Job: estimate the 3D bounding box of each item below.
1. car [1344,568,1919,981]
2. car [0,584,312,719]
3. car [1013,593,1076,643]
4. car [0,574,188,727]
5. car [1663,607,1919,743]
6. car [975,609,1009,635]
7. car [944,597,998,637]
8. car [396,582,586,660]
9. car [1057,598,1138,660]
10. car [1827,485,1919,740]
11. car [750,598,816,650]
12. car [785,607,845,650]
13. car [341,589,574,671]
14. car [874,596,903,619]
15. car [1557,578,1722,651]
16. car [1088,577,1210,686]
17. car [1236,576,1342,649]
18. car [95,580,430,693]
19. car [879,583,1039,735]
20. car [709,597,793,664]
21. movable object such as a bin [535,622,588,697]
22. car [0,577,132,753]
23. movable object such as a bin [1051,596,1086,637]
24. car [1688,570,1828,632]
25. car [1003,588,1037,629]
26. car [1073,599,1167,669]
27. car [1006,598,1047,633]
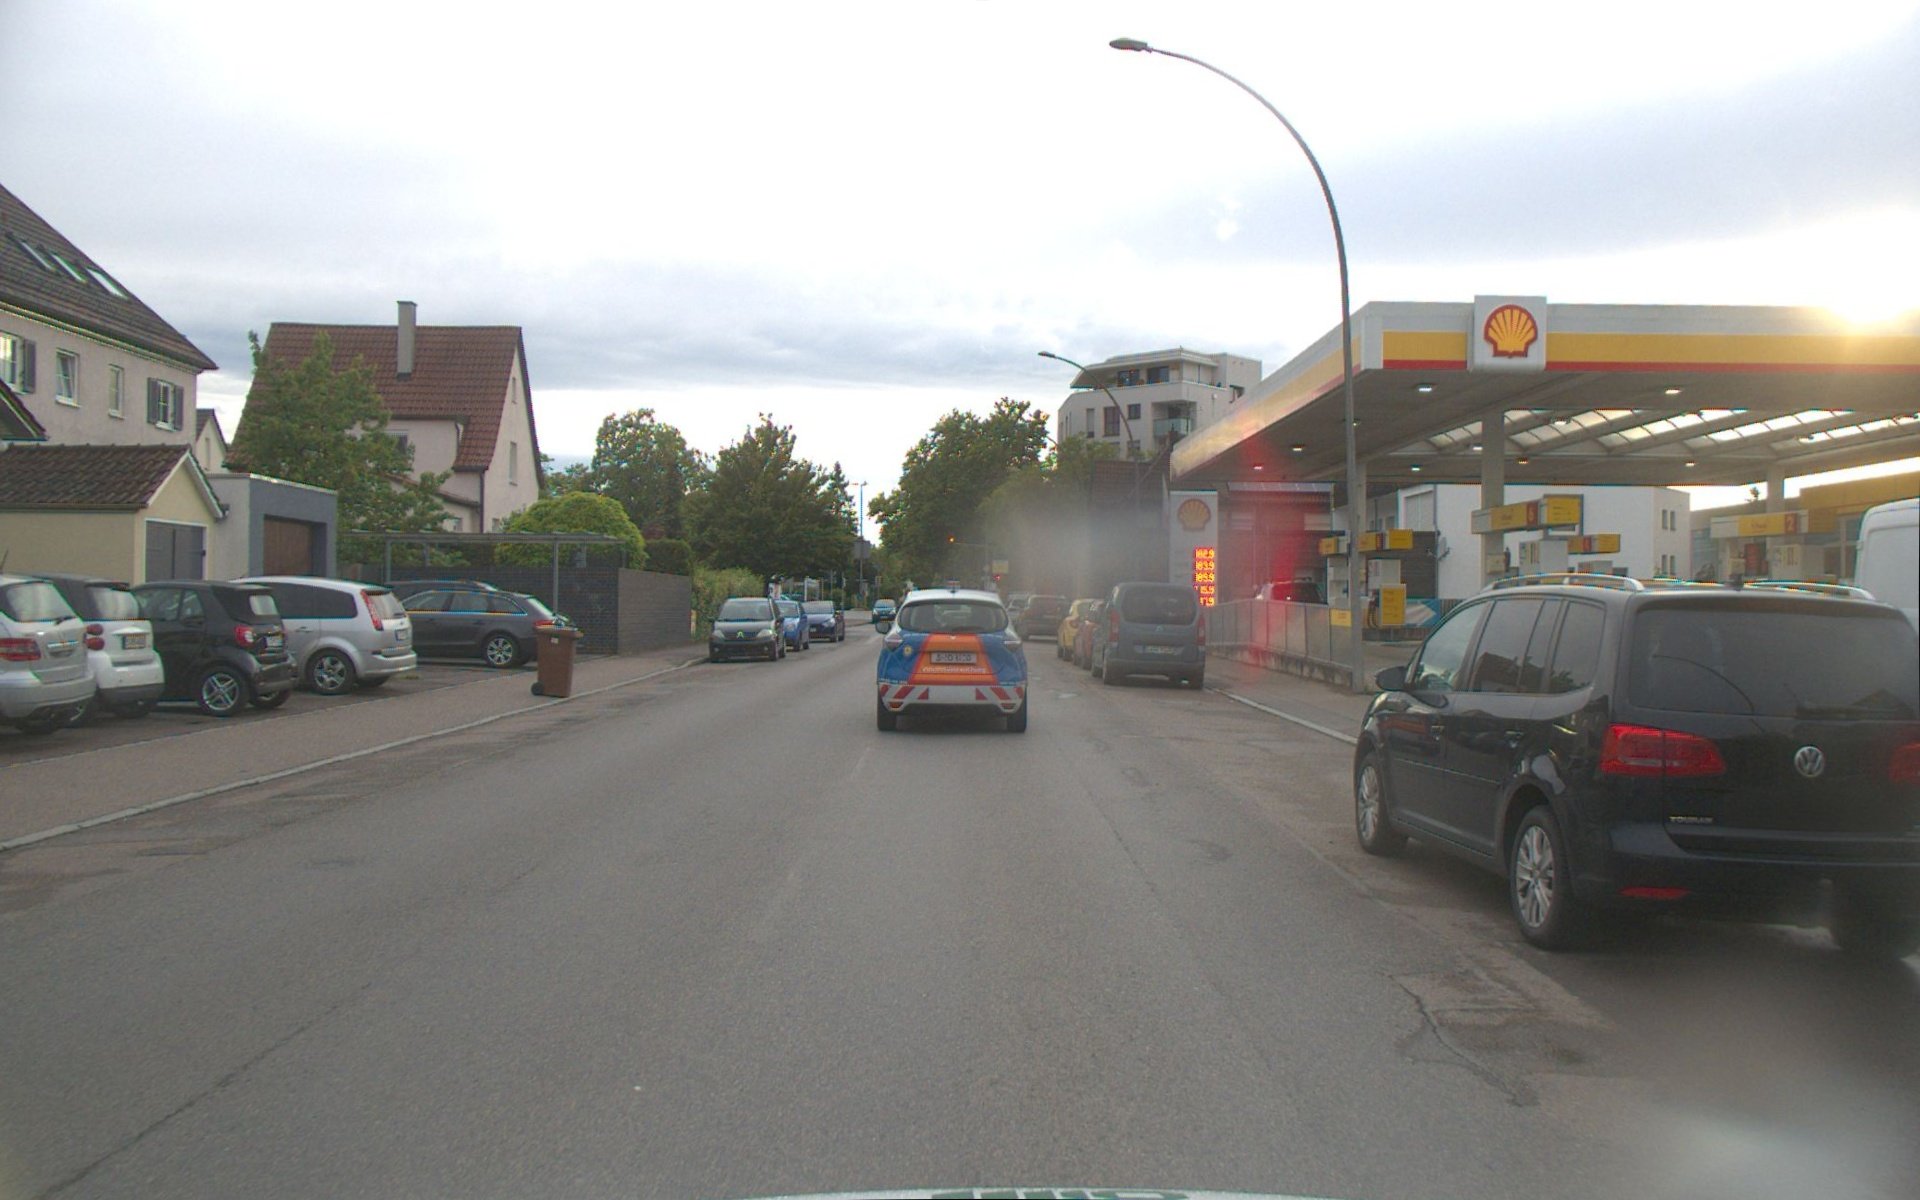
[{"bbox_3d":[3.484,0.661,8.539,1.953,1.624,3.998,0,1,-2],"label":"car"},{"bbox_3d":[-10.066,0.582,19.726,4.005,1.529,1.754,0,0,-6],"label":"car"},{"bbox_3d":[3.129,0.629,61.967,2.048,1.691,4.559,2,1,0],"label":"car"},{"bbox_3d":[-10.691,0.497,17.678,4.003,1.559,1.812,0,0,-4],"label":"car"},{"bbox_3d":[10.005,0.812,19.756,1.749,1.398,3.975,1,1,43],"label":"car"},{"bbox_3d":[2.001,1.395,104.346,1.758,1.453,3.998,2,1,-3],"label":"car"},{"bbox_3d":[0.514,0.744,73.136,1.951,1.601,4.003,2,1,6],"label":"car"},{"bbox_3d":[-9.794,0.432,34.751,3.515,1.482,1.755,2,0,-5],"label":"car"},{"bbox_3d":[3.334,0.676,40.654,1.622,1.426,3.801,1,0,-1],"label":"car"},{"bbox_3d":[11.841,0.133,17.512,4.722,2.564,2.233,0,0,-22],"label":"car"},{"bbox_3d":[-5.134,0.687,48.333,1.514,1.427,3.597,-1,0,0],"label":"car"},{"bbox_3d":[-5.130,0.997,58.855,1.770,1.427,3.944,-1,0,0],"label":"car"},{"bbox_3d":[-9.550,0.566,31.683,4.007,1.438,1.711,1,0,-8],"label":"car"},{"bbox_3d":[-4.517,0.476,105.128,1.593,1.458,3.684,0,0,2],"label":"car"},{"bbox_3d":[14.945,0.280,36.671,1.704,1.491,4.673,0,0,-1],"label":"car"},{"bbox_3d":[3.382,0.531,30.354,1.622,1.768,4.444,3,0,-1],"label":"car"},{"bbox_3d":[8.478,0.296,42.921,1.783,1.790,3.998,0,0,-3],"label":"car"},{"bbox_3d":[-9.825,0.498,23.576,4.005,1.540,1.881,0,0,-6],"label":"car"},{"bbox_3d":[-0.020,0.613,19.688,1.710,1.608,4.000,0,1,0],"label":"car"},{"bbox_3d":[-5.085,0.704,40.573,1.575,1.532,3.707,-1,0,0],"label":"car"},{"bbox_3d":[-6.219,0.927,25.817,0.583,1.075,0.687,5,2,0],"label":"movable object such as a bin"},{"bbox_3d":[-10.226,0.563,15.425,4.005,1.559,1.998,0,0,-6],"label":"car"},{"bbox_3d":[3.833,0.584,58.604,1.104,1.413,1.503,0,0,-2],"label":"movable object such as a bin"},{"bbox_3d":[20.151,0.004,41.933,1.704,1.491,3.779,0,0,-1],"label":"car"},{"bbox_3d":[3.260,0.419,89.150,1.741,2.064,4.755,2,1,2],"label":"car"},{"bbox_3d":[3.432,0.697,36.011,1.622,1.400,4.024,1,0,-1],"label":"car"},{"bbox_3d":[3.331,0.750,83.174,1.827,1.694,4.319,1,0,0],"label":"car"}]
